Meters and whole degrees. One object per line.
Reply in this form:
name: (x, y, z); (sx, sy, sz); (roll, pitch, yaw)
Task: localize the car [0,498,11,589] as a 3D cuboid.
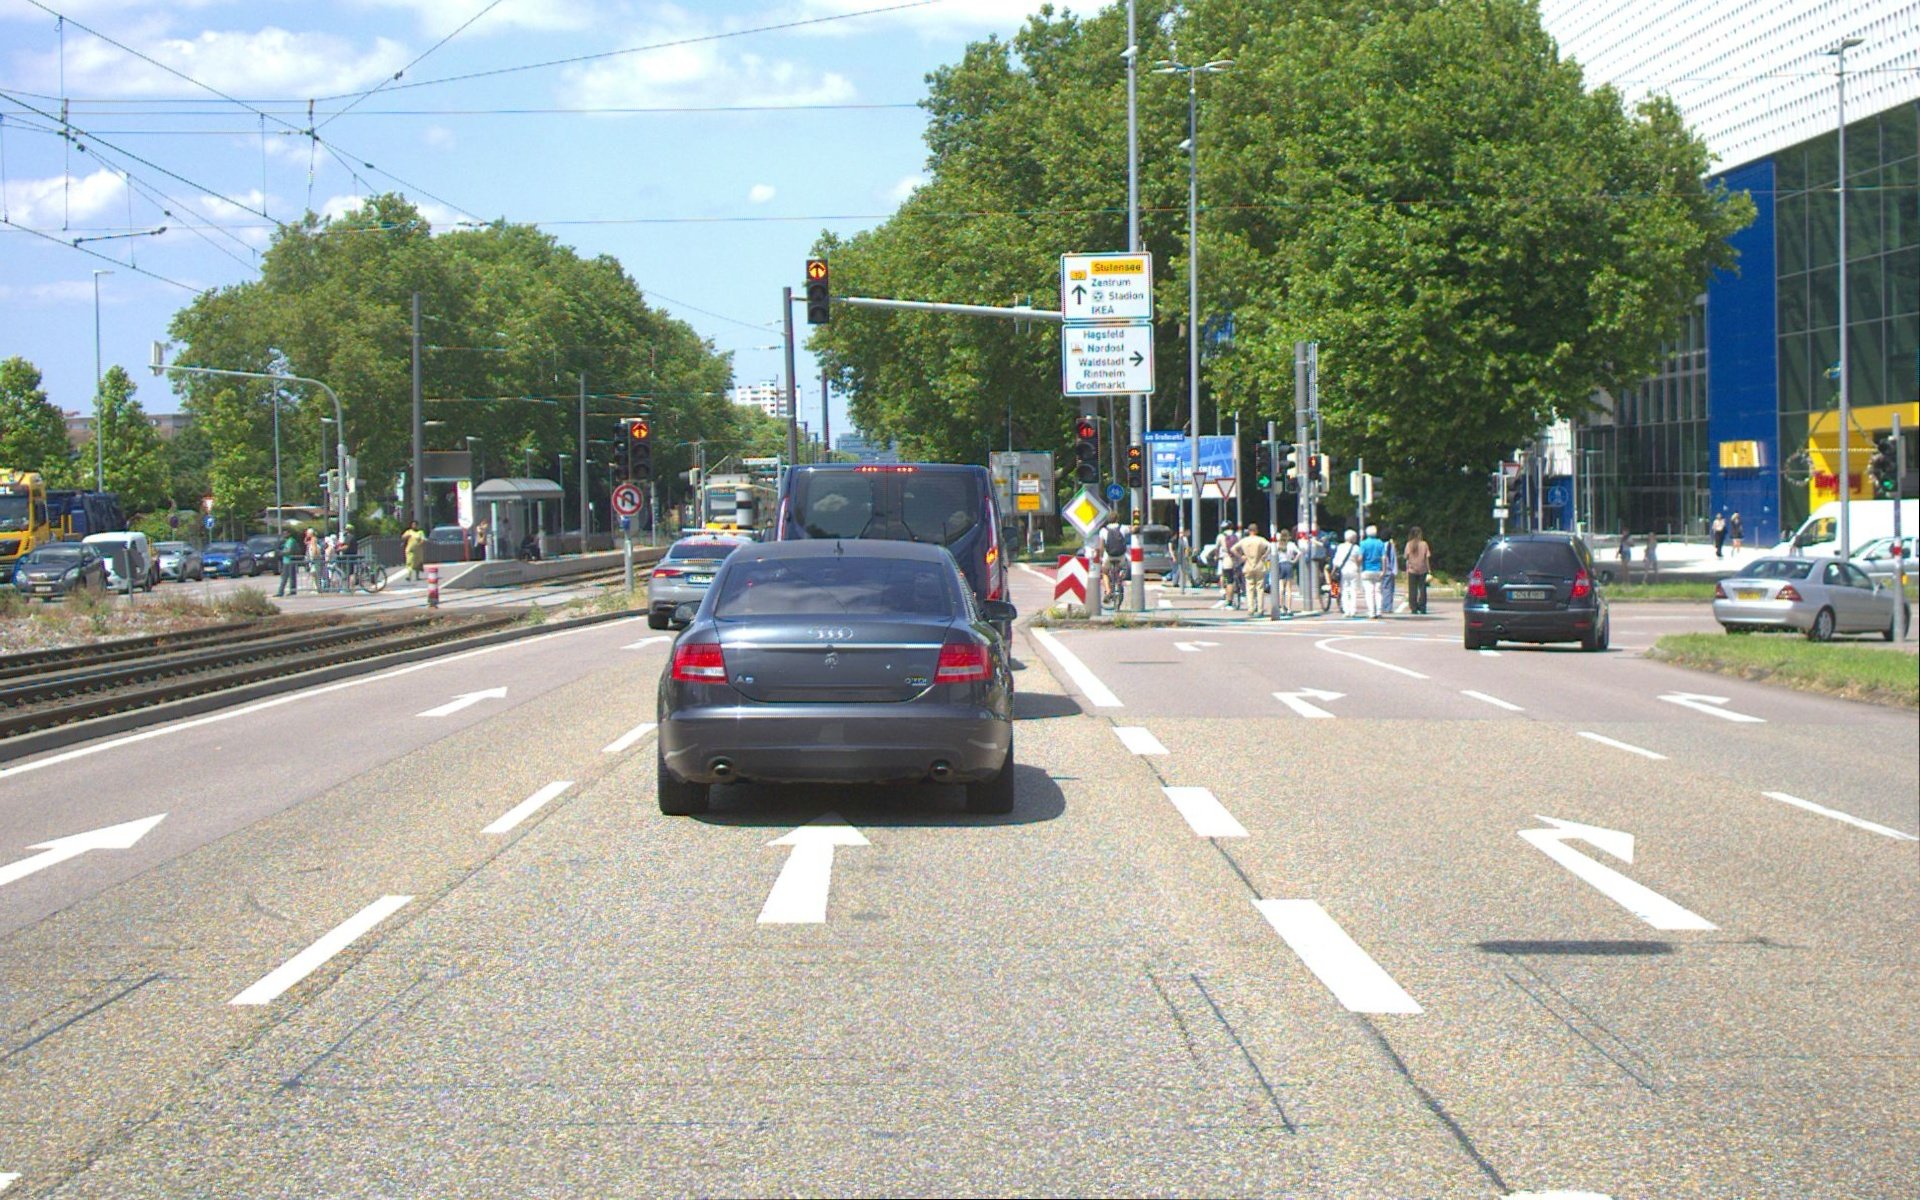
car: (-28.416, -1.485, 95.798); (2.243, 2.580, 6.236); (-3, 2, -2)

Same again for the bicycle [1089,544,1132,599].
bicycle: (2.825, -0.552, 64.690); (0.688, 0.990, 2.752); (1, 1, 0)

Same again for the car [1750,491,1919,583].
car: (22.676, -1.612, 87.509); (4.764, 2.301, 1.998); (1, 1, 20)

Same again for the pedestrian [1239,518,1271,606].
pedestrian: (5.500, -0.705, 64.039); (0.554, 1.629, 0.433); (1, 1, 3)

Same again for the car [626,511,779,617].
car: (-3.827, -0.575, 51.711); (1.993, 1.481, 4.000); (1, 2, 0)

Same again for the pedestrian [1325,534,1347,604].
pedestrian: (7.005, -0.582, 64.011); (0.372, 1.299, 0.365); (1, 1, 3)

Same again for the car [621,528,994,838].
car: (-0.756, 0.363, 18.739); (1.792, 1.450, 4.000); (-1, 2, 0)

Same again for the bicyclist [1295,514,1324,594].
bicyclist: (7.725, -1.016, 75.930); (0.529, 1.758, 0.827); (0, 1, 13)

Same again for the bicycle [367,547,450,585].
bicycle: (-14.013, -0.863, 87.290); (2.055, 0.922, 0.753); (0, 1, -10)

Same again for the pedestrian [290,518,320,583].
pedestrian: (-16.603, -1.257, 87.158); (0.685, 1.631, 0.573); (0, 1, -4)

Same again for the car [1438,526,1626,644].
car: (7.836, -0.241, 46.838); (1.995, 1.481, 3.997); (2, 2, 17)

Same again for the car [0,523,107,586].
car: (-25.151, -1.280, 95.528); (1.822, 1.664, 4.462); (1, 1, 0)

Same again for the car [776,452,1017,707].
car: (-0.511, -0.190, 28.197); (1.836, 1.943, 4.000); (0, 1, -1)

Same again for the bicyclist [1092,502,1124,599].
bicyclist: (2.761, -0.928, 64.200); (0.528, 1.783, 1.088); (0, 1, 0)

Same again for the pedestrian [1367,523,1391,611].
pedestrian: (7.793, -0.614, 63.940); (0.398, 1.629, 0.371); (1, 1, 3)

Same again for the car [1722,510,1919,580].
car: (19.902, -1.262, 78.735); (4.498, 1.481, 2.000); (2, 2, 3)

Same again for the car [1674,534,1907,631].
car: (13.694, -0.296, 56.550); (1.998, 1.481, 4.156); (3, 2, 41)

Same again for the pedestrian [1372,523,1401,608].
pedestrian: (8.191, -0.666, 66.072); (0.504, 1.629, 0.449); (1, 1, 3)

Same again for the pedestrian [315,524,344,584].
pedestrian: (-16.329, -1.189, 89.077); (0.685, 1.559, 0.573); (0, 1, -4)

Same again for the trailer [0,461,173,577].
trailer: (-28.837, -2.639, 112.358); (2.767, 3.506, 15.879); (0, 1, -1)

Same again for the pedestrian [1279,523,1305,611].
pedestrian: (6.187, -0.625, 64.009); (0.445, 1.629, 0.430); (1, 1, 3)

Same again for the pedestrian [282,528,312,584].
pedestrian: (-16.969, -1.121, 87.966); (0.685, 1.438, 0.573); (0, 1, -4)

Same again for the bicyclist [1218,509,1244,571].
bicyclist: (5.218, -1.161, 66.293); (0.470, 1.189, 0.791); (0, 1, 2)

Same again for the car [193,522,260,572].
car: (-28.459, -2.076, 133.493); (1.817, 1.876, 4.000); (0, 1, -1)

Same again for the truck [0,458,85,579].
truck: (-28.730, -2.485, 104.375); (2.767, 3.557, 6.440); (0, 1, -1)

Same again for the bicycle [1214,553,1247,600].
bicycle: (5.175, -0.457, 65.888); (0.550, 0.874, 1.697); (1, 1, 2)

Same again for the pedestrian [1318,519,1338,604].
pedestrian: (7.074, -0.751, 66.133); (0.339, 1.629, 0.377); (1, 1, 3)

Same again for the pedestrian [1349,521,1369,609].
pedestrian: (7.423, -0.647, 63.967); (0.320, 1.629, 0.377); (1, 1, 3)

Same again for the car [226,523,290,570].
car: (-28.444, -2.180, 139.456); (1.817, 1.876, 4.000); (0, 1, -1)

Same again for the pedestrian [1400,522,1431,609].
pedestrian: (8.742, -0.659, 65.952); (0.521, 1.664, 0.494); (1, 1, 3)

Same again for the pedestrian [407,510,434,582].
pedestrian: (-14.930, -1.495, 95.198); (0.685, 2.007, 0.573); (0, 1, -4)

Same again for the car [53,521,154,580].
car: (-25.564, -1.499, 102.758); (1.822, 1.664, 4.461); (1, 1, 1)

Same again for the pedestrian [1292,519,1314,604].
pedestrian: (6.596, -0.737, 66.175); (0.381, 1.629, 0.377); (1, 1, 3)

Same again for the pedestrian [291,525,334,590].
pedestrian: (-17.078, -1.128, 90.662); (0.824, 1.714, 0.774); (1, 1, 22)
